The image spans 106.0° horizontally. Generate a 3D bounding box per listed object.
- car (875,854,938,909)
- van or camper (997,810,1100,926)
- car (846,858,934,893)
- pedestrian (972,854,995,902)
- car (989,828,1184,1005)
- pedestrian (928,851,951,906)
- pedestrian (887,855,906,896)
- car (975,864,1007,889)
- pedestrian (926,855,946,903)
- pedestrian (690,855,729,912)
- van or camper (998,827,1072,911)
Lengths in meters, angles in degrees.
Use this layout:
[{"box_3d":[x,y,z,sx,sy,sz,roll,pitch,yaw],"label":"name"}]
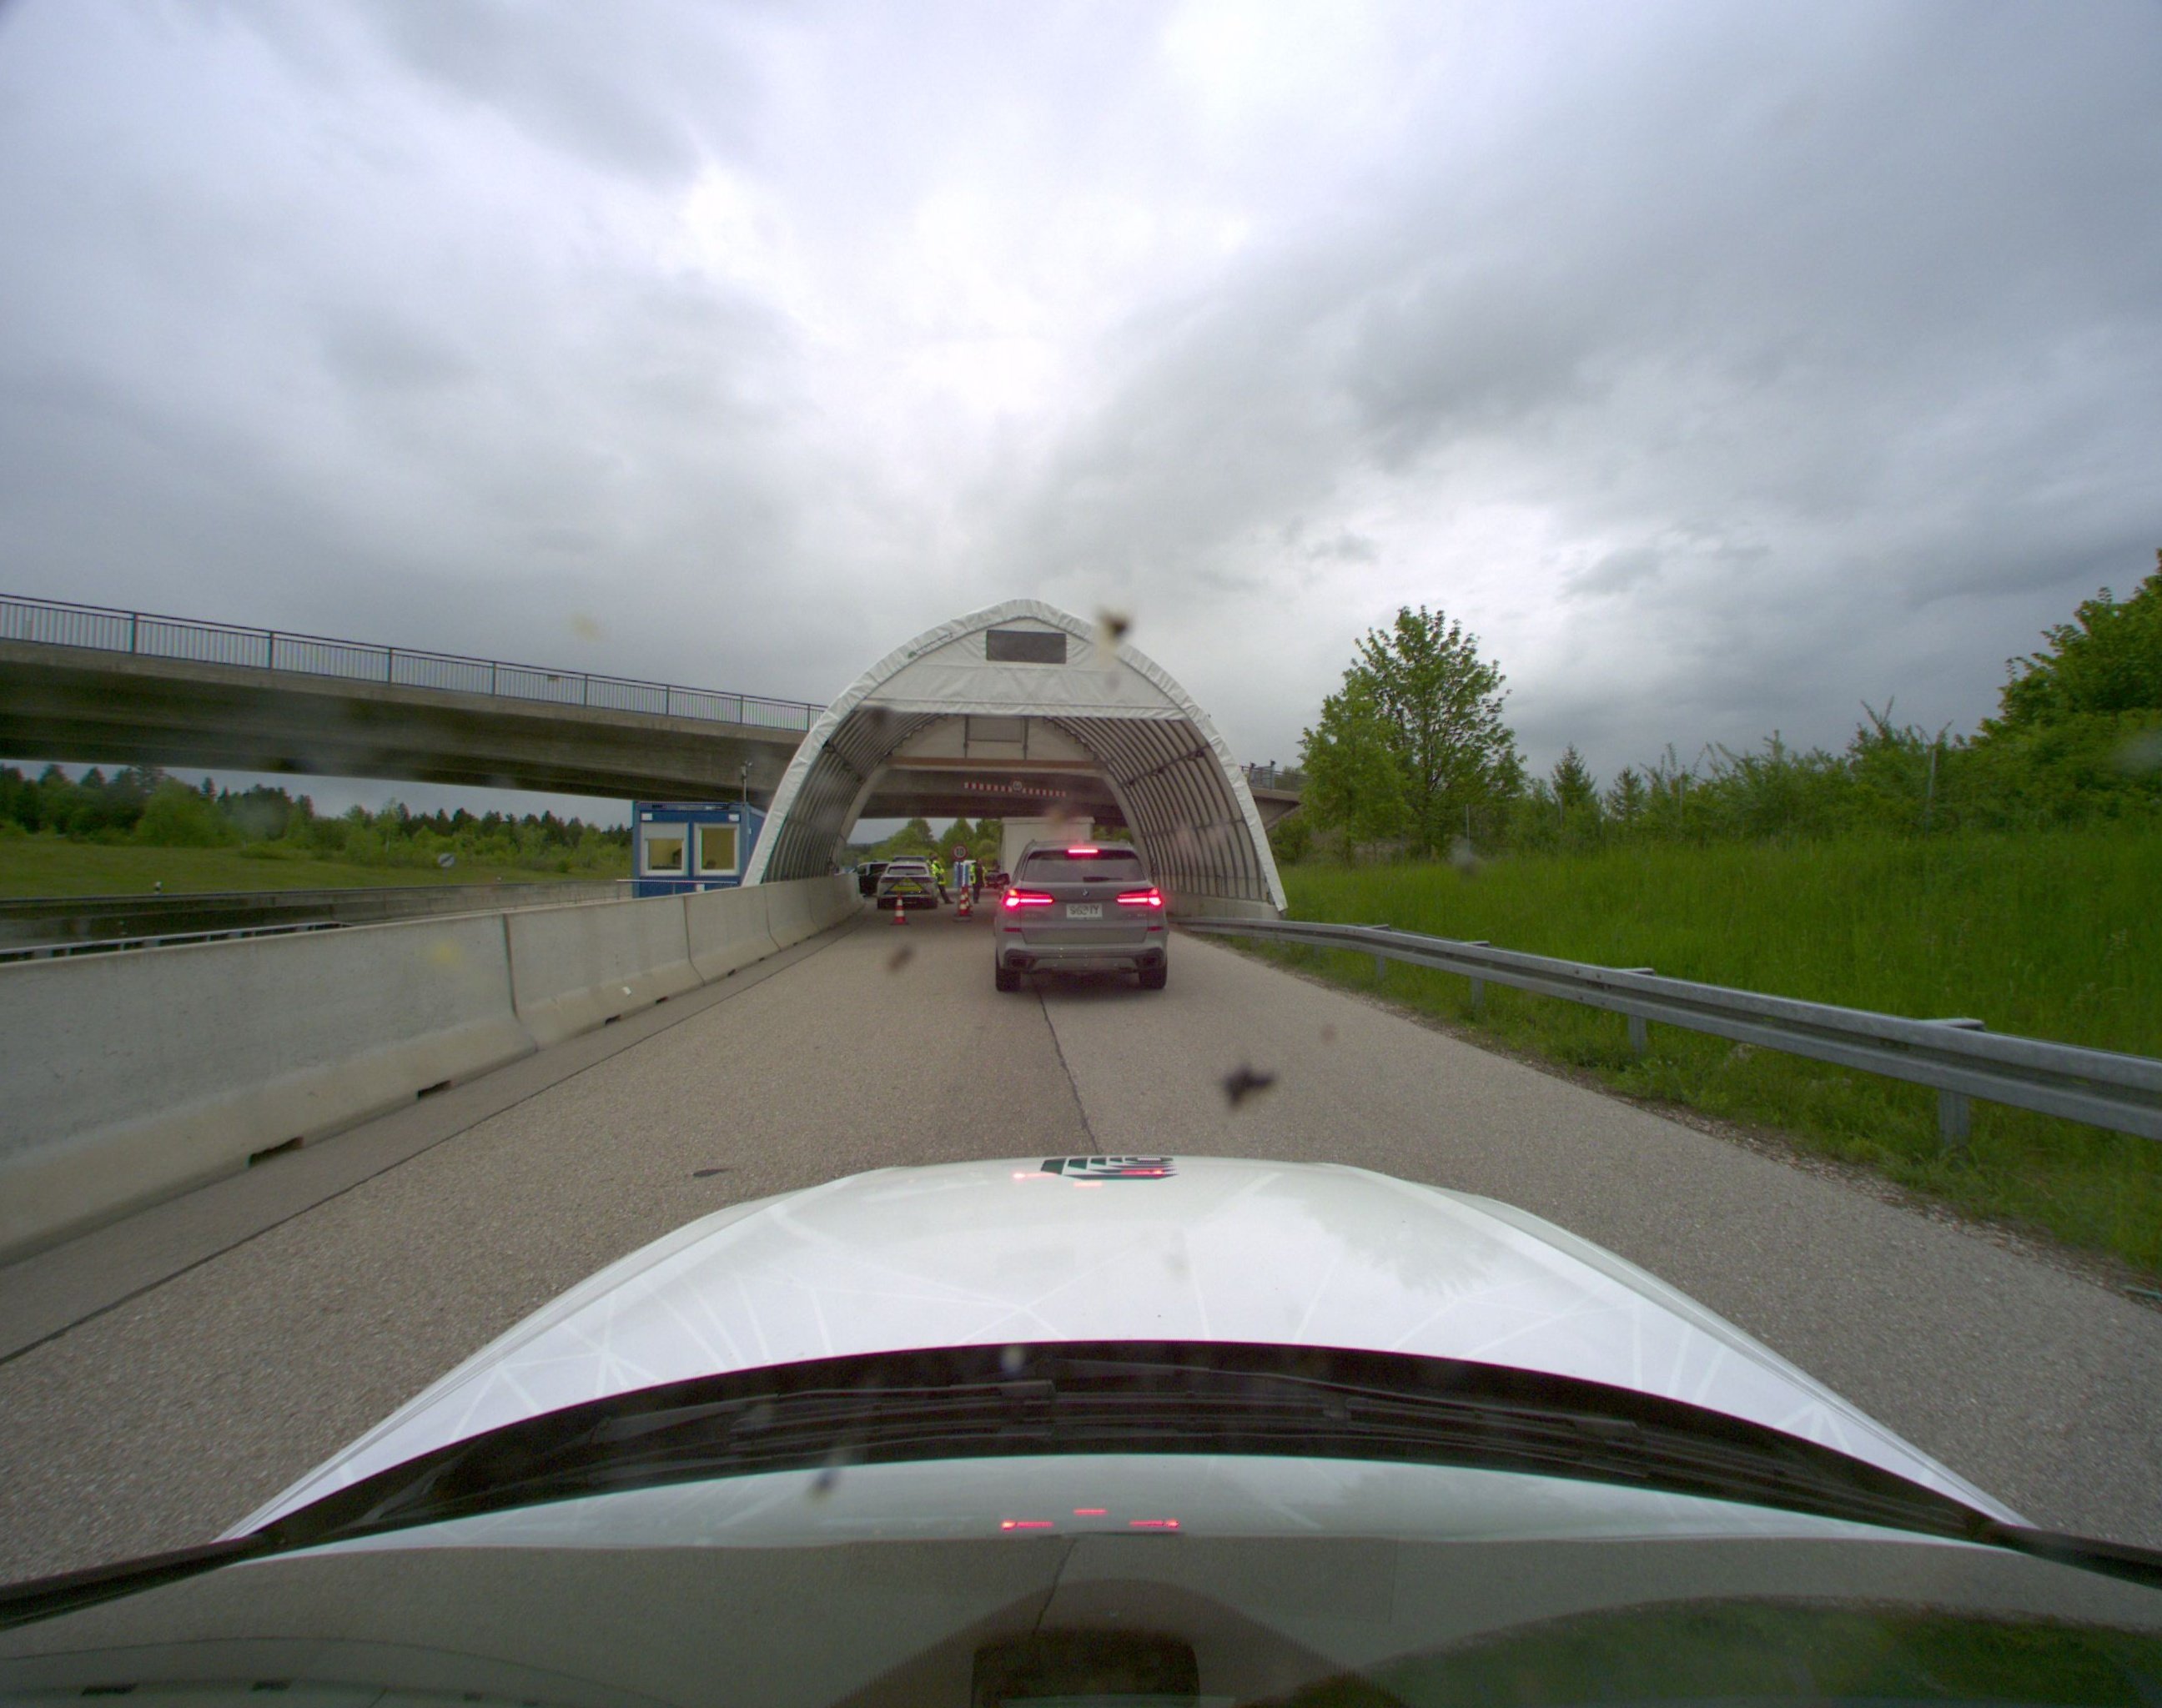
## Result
[{"box_3d":[-5.771,0.873,27.006,1.879,1.647,3.983,-1,-1,-12],"label":"car"},{"box_3d":[-1.050,0.353,21.551,2.227,2.552,6.595,-1,-1,-6],"label":"van or camper"},{"box_3d":[-11.563,1.294,49.340,4.777,2.014,1.845,-1,-1,9],"label":"car"},{"box_3d":[-3.569,0.873,29.817,0.779,1.722,0.754,-1,-1,-9],"label":"pedestrian"},{"box_3d":[-0.148,0.664,10.451,1.992,1.765,3.990,-1,-1,-7],"label":"car"},{"box_3d":[-5.074,0.868,29.176,0.750,1.919,0.759,-1,-1,-13],"label":"pedestrian"},{"box_3d":[-9.187,1.060,40.562,0.698,2.014,0.692,-1,-1,1],"label":"pedestrian"},{"box_3d":[-6.517,1.613,58.936,1.994,1.722,3.882,-1,-1,-11],"label":"car"},{"box_3d":[-5.389,0.909,30.296,0.607,1.754,0.665,-1,-1,-4],"label":"pedestrian"},{"box_3d":[-9.241,0.733,20.282,0.606,1.373,0.629,-2,-1,10],"label":"pedestrian"},{"box_3d":[-1.684,0.492,27.644,2.102,2.519,5.537,-1,-1,-7],"label":"van or camper"}]
